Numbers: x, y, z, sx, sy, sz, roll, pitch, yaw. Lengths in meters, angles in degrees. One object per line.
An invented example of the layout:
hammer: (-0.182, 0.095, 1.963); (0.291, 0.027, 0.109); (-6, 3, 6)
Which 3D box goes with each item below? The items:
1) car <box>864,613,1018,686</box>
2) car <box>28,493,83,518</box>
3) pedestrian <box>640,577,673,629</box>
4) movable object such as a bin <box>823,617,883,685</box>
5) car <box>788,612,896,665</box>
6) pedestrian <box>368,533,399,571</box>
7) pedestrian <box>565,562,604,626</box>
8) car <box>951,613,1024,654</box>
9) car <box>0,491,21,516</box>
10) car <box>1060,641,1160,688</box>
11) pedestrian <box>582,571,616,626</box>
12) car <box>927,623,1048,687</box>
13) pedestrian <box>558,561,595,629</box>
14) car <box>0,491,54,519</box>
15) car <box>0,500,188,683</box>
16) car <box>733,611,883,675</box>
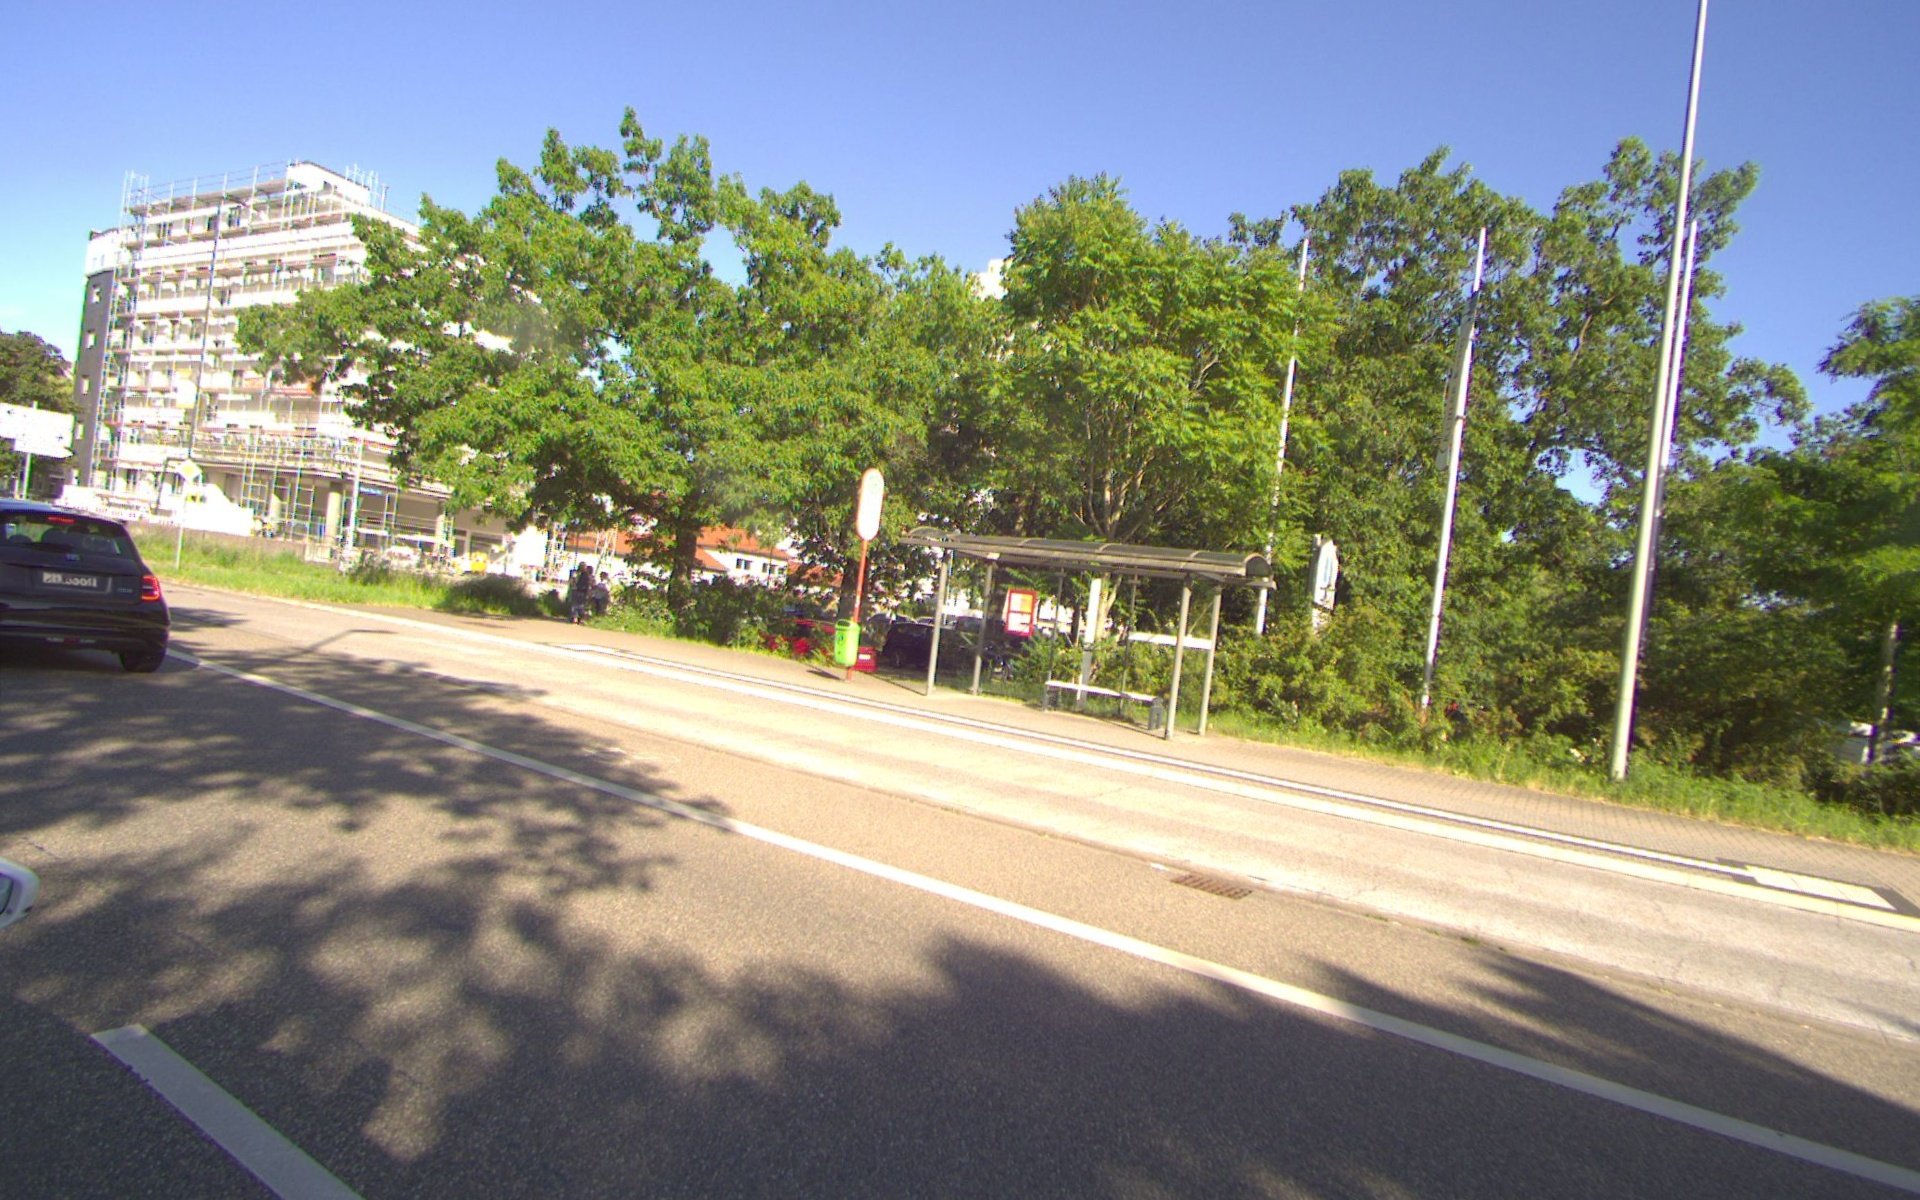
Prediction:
car: (-0.693, 1.667, 34.168); (4.811, 1.555, 1.997); (9, -1, 35)
car: (-81.241, -8.461, 90.341); (3.925, 1.613, 1.911); (7, 0, 19)
pedestrian: (-10.193, 0.095, 33.828); (0.557, 1.638, 0.705); (6, -2, 26)
movable object such as a bin: (-1.792, 0.865, 16.879); (0.568, 1.042, 0.727); (7, 0, 31)
car: (-4.815, 1.555, 40.941); (3.938, 1.625, 1.996); (6, -3, 35)
pedestrian: (-25.454, -2.125, 44.399); (0.892, 1.515, 0.651); (7, 0, 24)
pedestrian: (-10.231, -0.166, 27.389); (0.542, 1.654, 0.622); (7, 0, 32)
car: (1.790, 2.202, 66.720); (4.283, 2.098, 1.995); (7, -1, 35)
car: (-62.017, -6.283, 64.297); (1.759, 1.460, 3.596); (8, -1, -25)
car: (6.702, 2.879, 45.188); (1.989, 1.573, 3.952); (9, -3, -43)
pedestrian: (-10.610, -0.050, 29.546); (0.604, 1.536, 0.528); (7, 0, 35)
car: (1.005, 2.012, 37.064); (3.938, 1.834, 1.846); (6, -2, 36)
pedestrian: (-10.157, -0.127, 26.655); (0.403, 1.721, 0.603); (7, 0, 31)
car: (-64.014, -6.480, 68.781); (1.802, 1.526, 3.976); (7, 0, -24)
car: (-9.411, -0.206, 9.864); (3.503, 1.521, 1.677); (7, 0, 31)
car: (-4.083, 1.143, 26.868); (3.846, 1.168, 1.399); (7, -1, 31)
